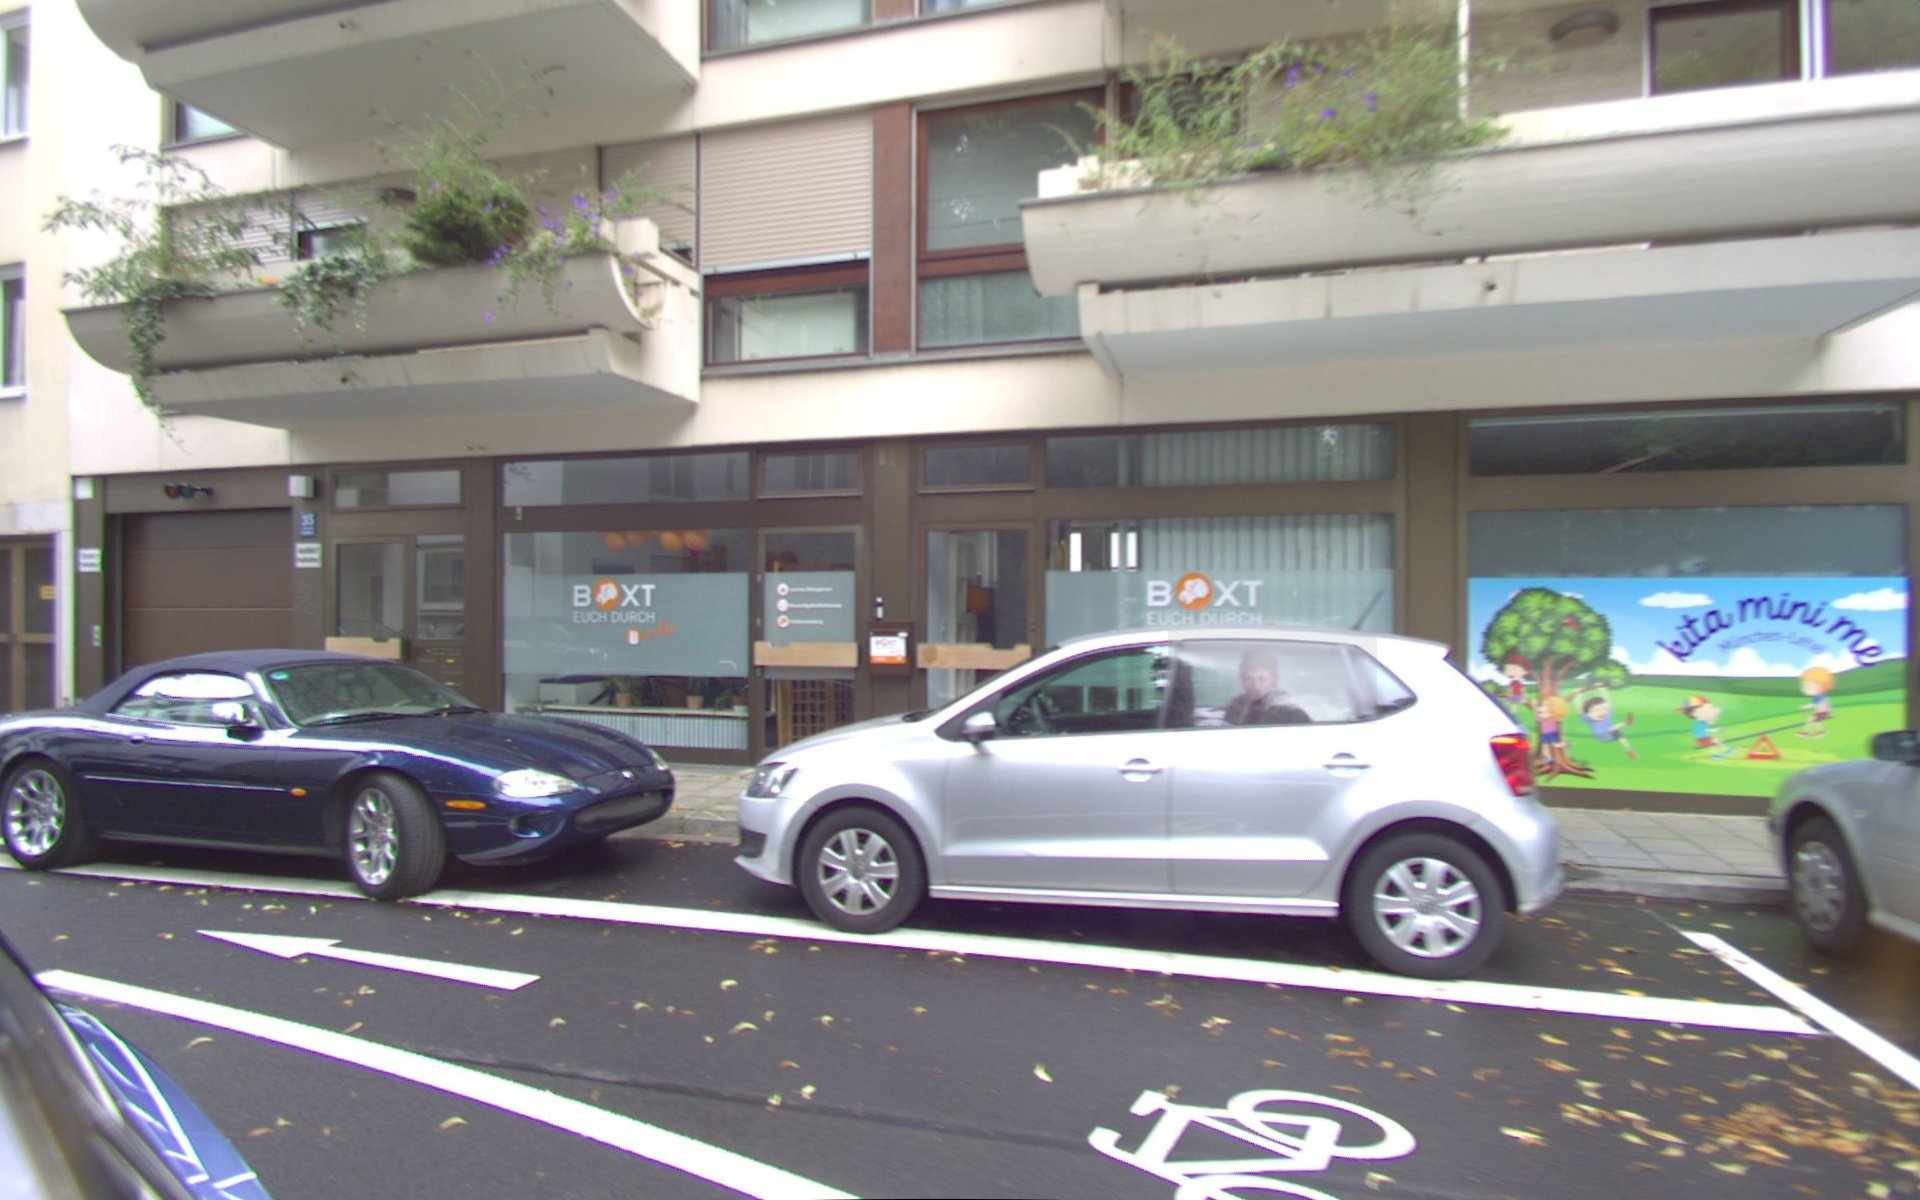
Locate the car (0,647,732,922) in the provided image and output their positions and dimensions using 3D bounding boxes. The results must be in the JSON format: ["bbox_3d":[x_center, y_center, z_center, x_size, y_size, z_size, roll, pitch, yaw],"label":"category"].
[{"bbox_3d":[-3.901,0.941,6.268,4.573,1.288,1.794,-1,-2,15],"label":"car"}]

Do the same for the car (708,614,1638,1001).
[{"bbox_3d":[0.847,0.820,5.005,3.796,1.432,1.558,-1,-2,14],"label":"car"}]

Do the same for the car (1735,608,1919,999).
[{"bbox_3d":[4.227,0.713,2.806,1.705,1.466,4.221,-1,-3,14],"label":"car"}]
